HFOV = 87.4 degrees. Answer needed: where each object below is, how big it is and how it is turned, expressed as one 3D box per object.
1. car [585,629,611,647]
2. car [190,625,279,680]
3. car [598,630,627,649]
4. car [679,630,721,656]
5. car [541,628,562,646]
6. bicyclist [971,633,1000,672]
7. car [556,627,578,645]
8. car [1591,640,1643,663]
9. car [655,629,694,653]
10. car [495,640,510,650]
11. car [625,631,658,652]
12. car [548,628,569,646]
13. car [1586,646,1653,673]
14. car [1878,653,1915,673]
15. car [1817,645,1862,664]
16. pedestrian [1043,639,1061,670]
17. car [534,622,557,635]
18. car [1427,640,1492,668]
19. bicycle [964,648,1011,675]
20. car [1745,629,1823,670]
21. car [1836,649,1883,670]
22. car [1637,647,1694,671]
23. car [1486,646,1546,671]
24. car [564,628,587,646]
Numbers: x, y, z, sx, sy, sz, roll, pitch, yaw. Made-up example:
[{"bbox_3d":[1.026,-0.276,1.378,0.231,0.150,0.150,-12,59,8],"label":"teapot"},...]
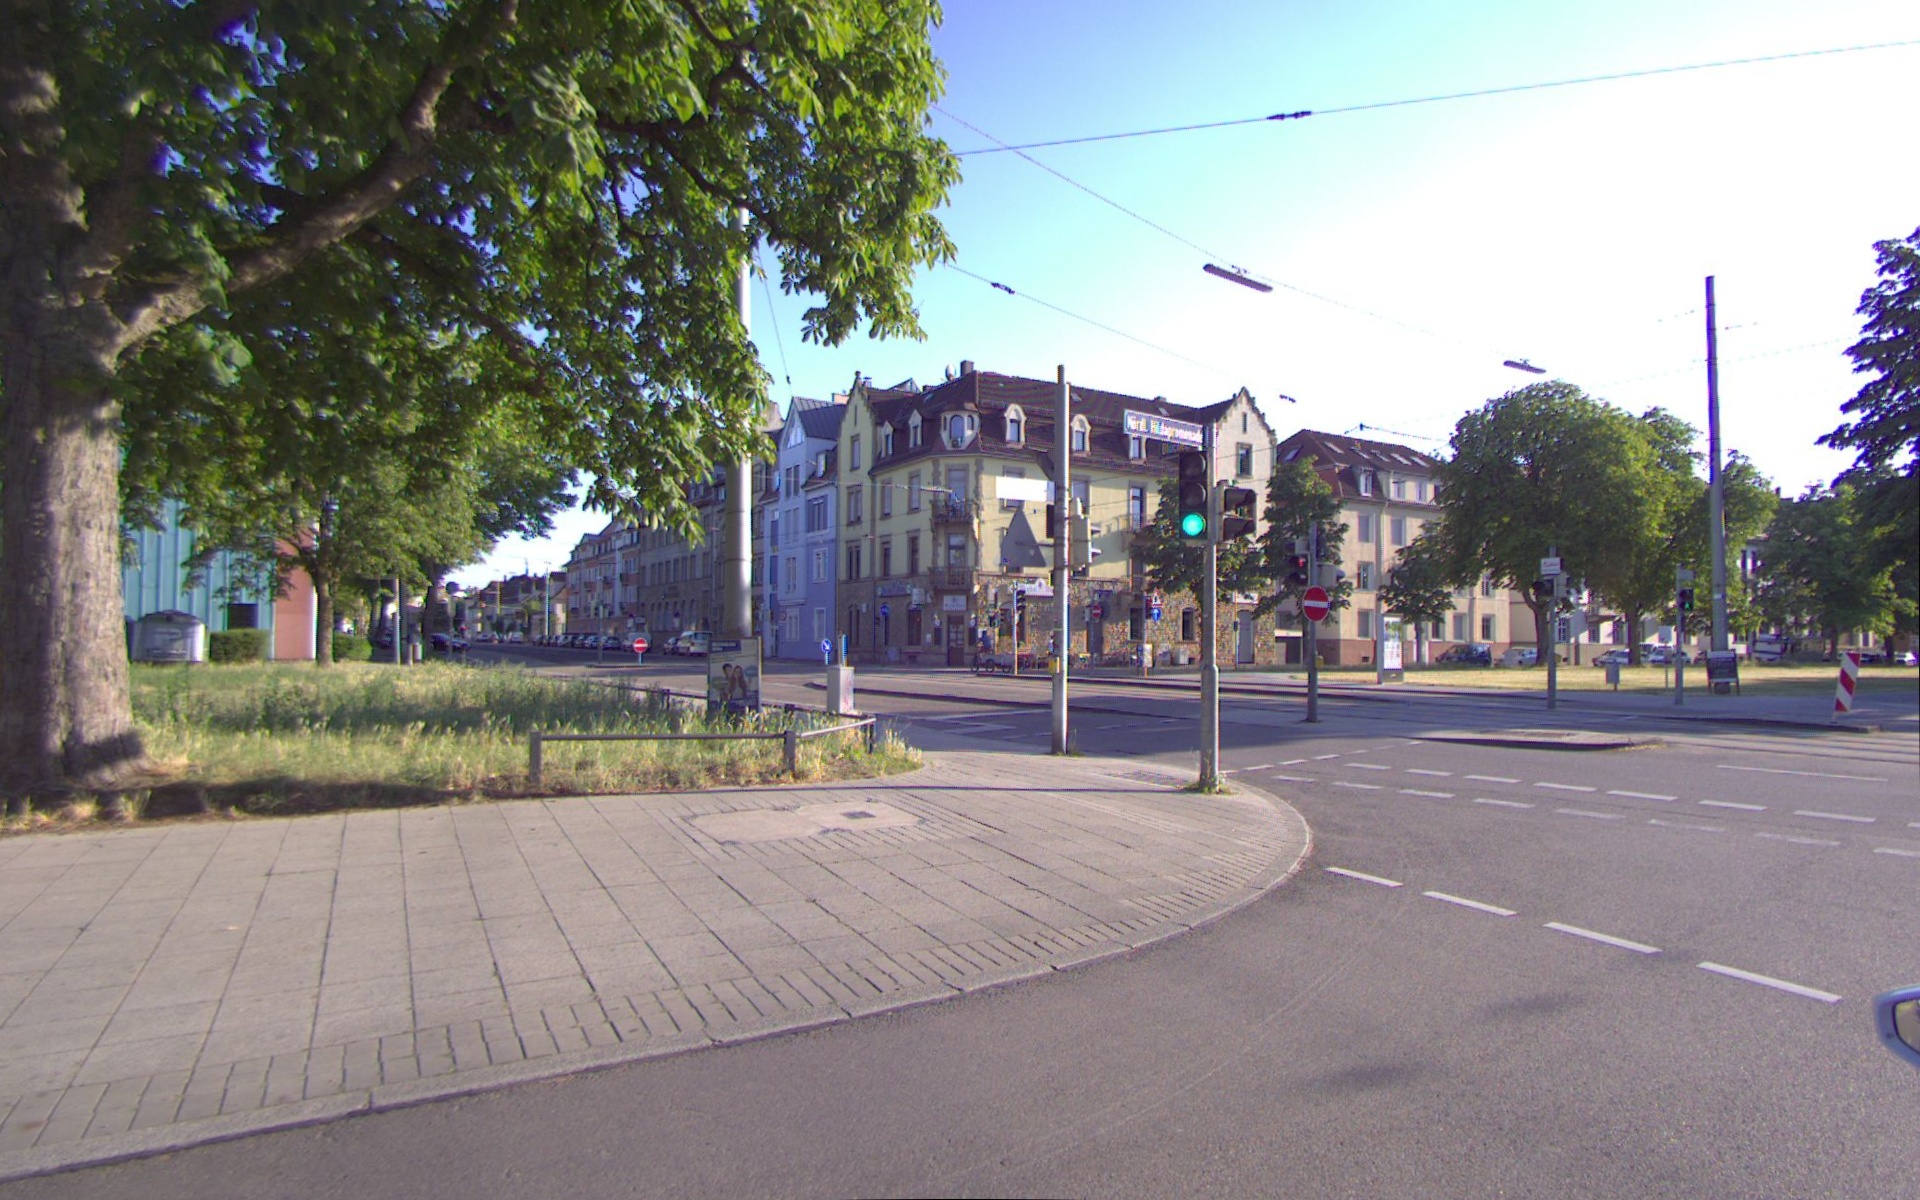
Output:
[{"bbox_3d":[-38.953,4.119,108.044,1.815,1.692,3.913,3,-1,-32],"label":"car"},{"bbox_3d":[-24.258,1.721,33.772,1.978,1.693,5.179,3,-3,-32],"label":"car"},{"bbox_3d":[-35.781,4.085,103.473,1.979,1.693,3.745,3,-1,-33],"label":"car"},{"bbox_3d":[-20.088,3.306,77.407,2.010,1.759,3.745,3,-1,-33],"label":"car"},{"bbox_3d":[-53.345,4.825,131.104,1.755,2.040,3.793,3,-1,-32],"label":"car"},{"bbox_3d":[1.165,2.376,45.628,0.863,1.745,1.142,3,-3,-25],"label":"bicyclist"},{"bbox_3d":[-47.792,4.387,122.142,1.804,2.040,3.926,3,-1,-32],"label":"car"},{"bbox_3d":[52.558,4.150,80.334,4.141,1.654,1.708,3,-1,-29],"label":"car"},{"bbox_3d":[-23.351,3.345,82.019,1.978,1.763,3.964,2,-1,-32],"label":"car"},{"bbox_3d":[-70.456,6.959,154.692,1.533,1.387,3.430,3,-1,-32],"label":"car"},{"bbox_3d":[-29.729,3.846,93.647,1.979,1.693,3.745,3,-1,-33],"label":"car"},{"bbox_3d":[-50.669,4.670,126.783,1.788,2.040,3.774,3,-1,-32],"label":"car"},{"bbox_3d":[46.122,4.137,70.212,4.515,1.681,1.985,3,-1,-29],"label":"car"},{"bbox_3d":[101.213,6.820,108.553,3.956,2.040,1.983,3,-1,-32],"label":"car"},{"bbox_3d":[87.491,5.416,99.937,4.321,1.681,1.985,3,-1,-29],"label":"car"},{"bbox_3d":[4.976,2.964,54.394,0.675,1.646,0.612,3,-1,-32],"label":"pedestrian"},{"bbox_3d":[-57.491,3.963,139.263,1.910,1.715,3.954,3,-1,-39],"label":"car"},{"bbox_3d":[35.172,3.810,70.696,4.259,1.759,1.985,3,-1,-29],"label":"car"},{"bbox_3d":[1.224,2.778,45.489,0.863,1.176,3.065,3,-3,-25],"label":"bicycle"},{"bbox_3d":[67.940,4.082,82.771,7.760,3.173,2.381,2,0,-30],"label":"car"},{"bbox_3d":[81.118,5.344,90.535,4.264,1.696,1.871,3,-1,-30],"label":"car"},{"bbox_3d":[51.297,4.246,73.001,4.370,1.575,1.786,2,0,-32],"label":"car"},{"bbox_3d":[40.718,4.275,73.522,3.951,1.681,1.985,3,-1,-29],"label":"car"},{"bbox_3d":[-44.995,4.326,117.599,1.781,1.855,3.758,3,-1,-32],"label":"car"}]
